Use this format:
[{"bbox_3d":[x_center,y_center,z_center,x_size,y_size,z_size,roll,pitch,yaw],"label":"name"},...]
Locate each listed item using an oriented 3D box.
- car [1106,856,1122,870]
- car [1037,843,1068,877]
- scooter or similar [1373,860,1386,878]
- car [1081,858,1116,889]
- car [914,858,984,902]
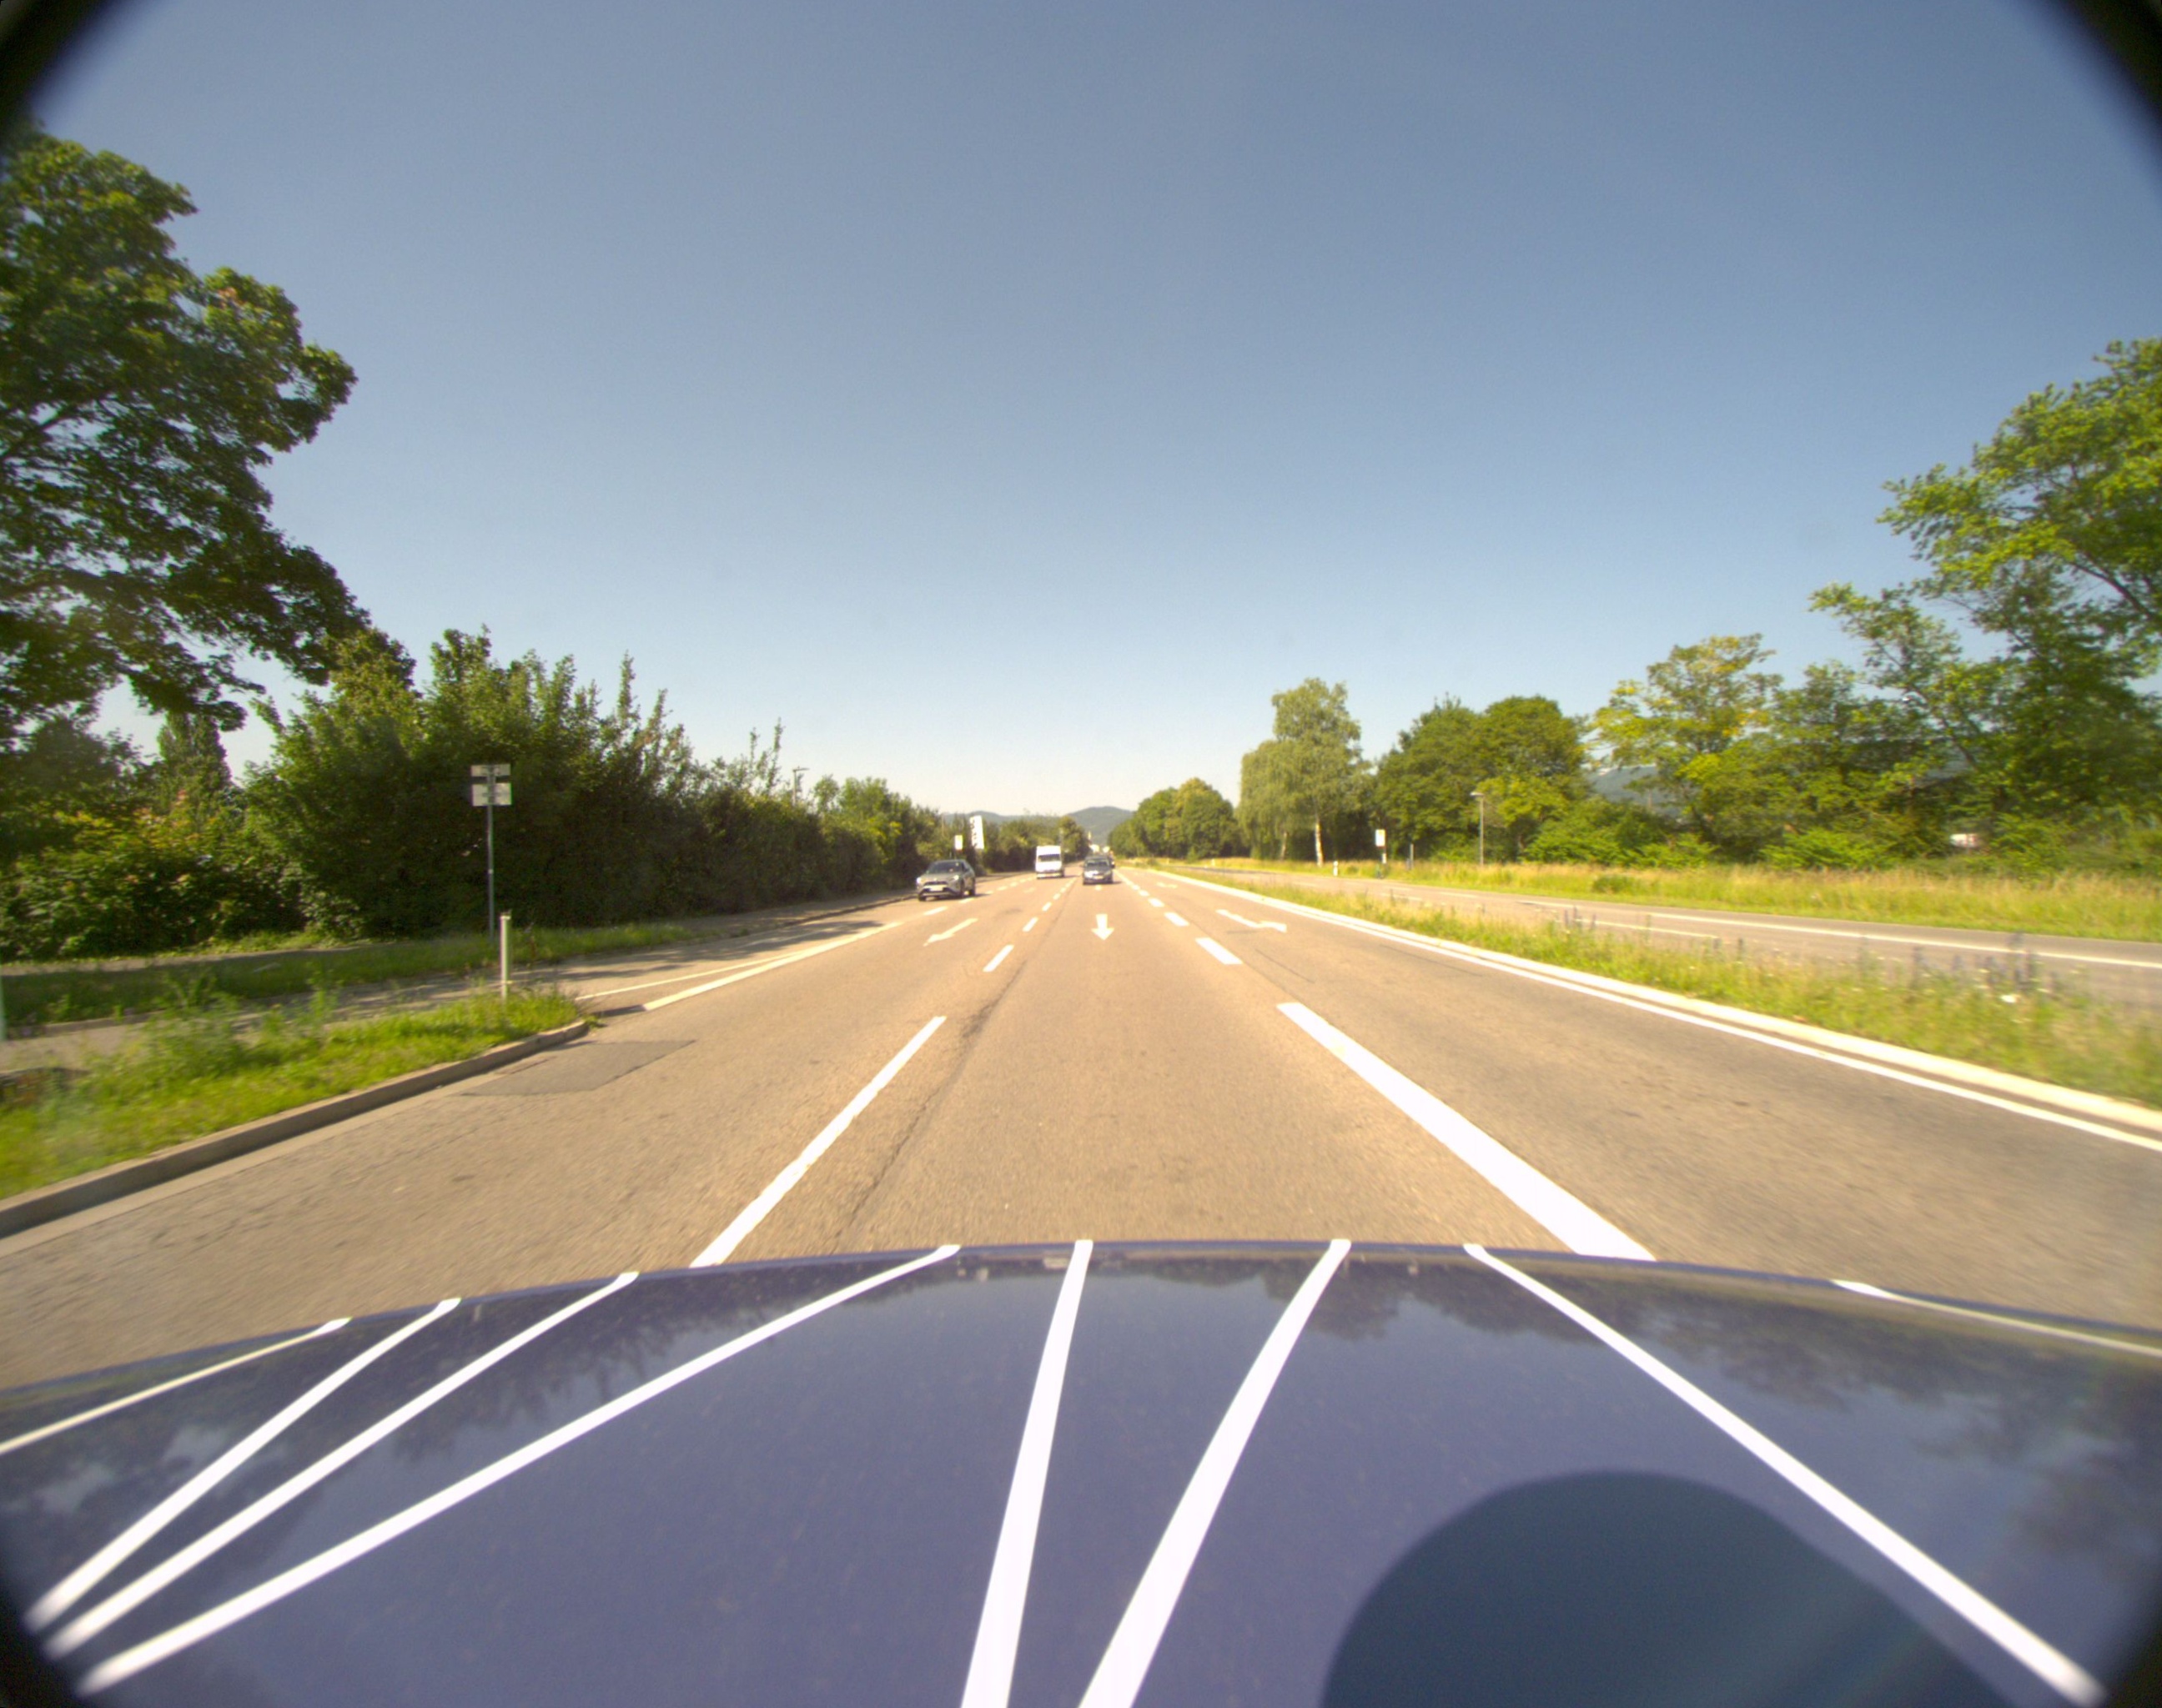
[{"bbox_3d":[3.811,1.054,88.172,1.678,1.435,3.622,-2,1,1],"label":"car"},{"bbox_3d":[-2.126,0.429,58.323,1.998,2.432,5.088,-2,1,1],"label":"car"},{"bbox_3d":[20.233,1.003,51.513,0.369,1.179,1.340,1,1,1],"label":"scooter or similar"},{"bbox_3d":[0.909,0.980,39.924,1.678,1.435,4.361,-2,1,1],"label":"car"},{"bbox_3d":[-5.634,1.060,32.987,1.906,1.670,4.684,-3,0,3],"label":"car"}]
